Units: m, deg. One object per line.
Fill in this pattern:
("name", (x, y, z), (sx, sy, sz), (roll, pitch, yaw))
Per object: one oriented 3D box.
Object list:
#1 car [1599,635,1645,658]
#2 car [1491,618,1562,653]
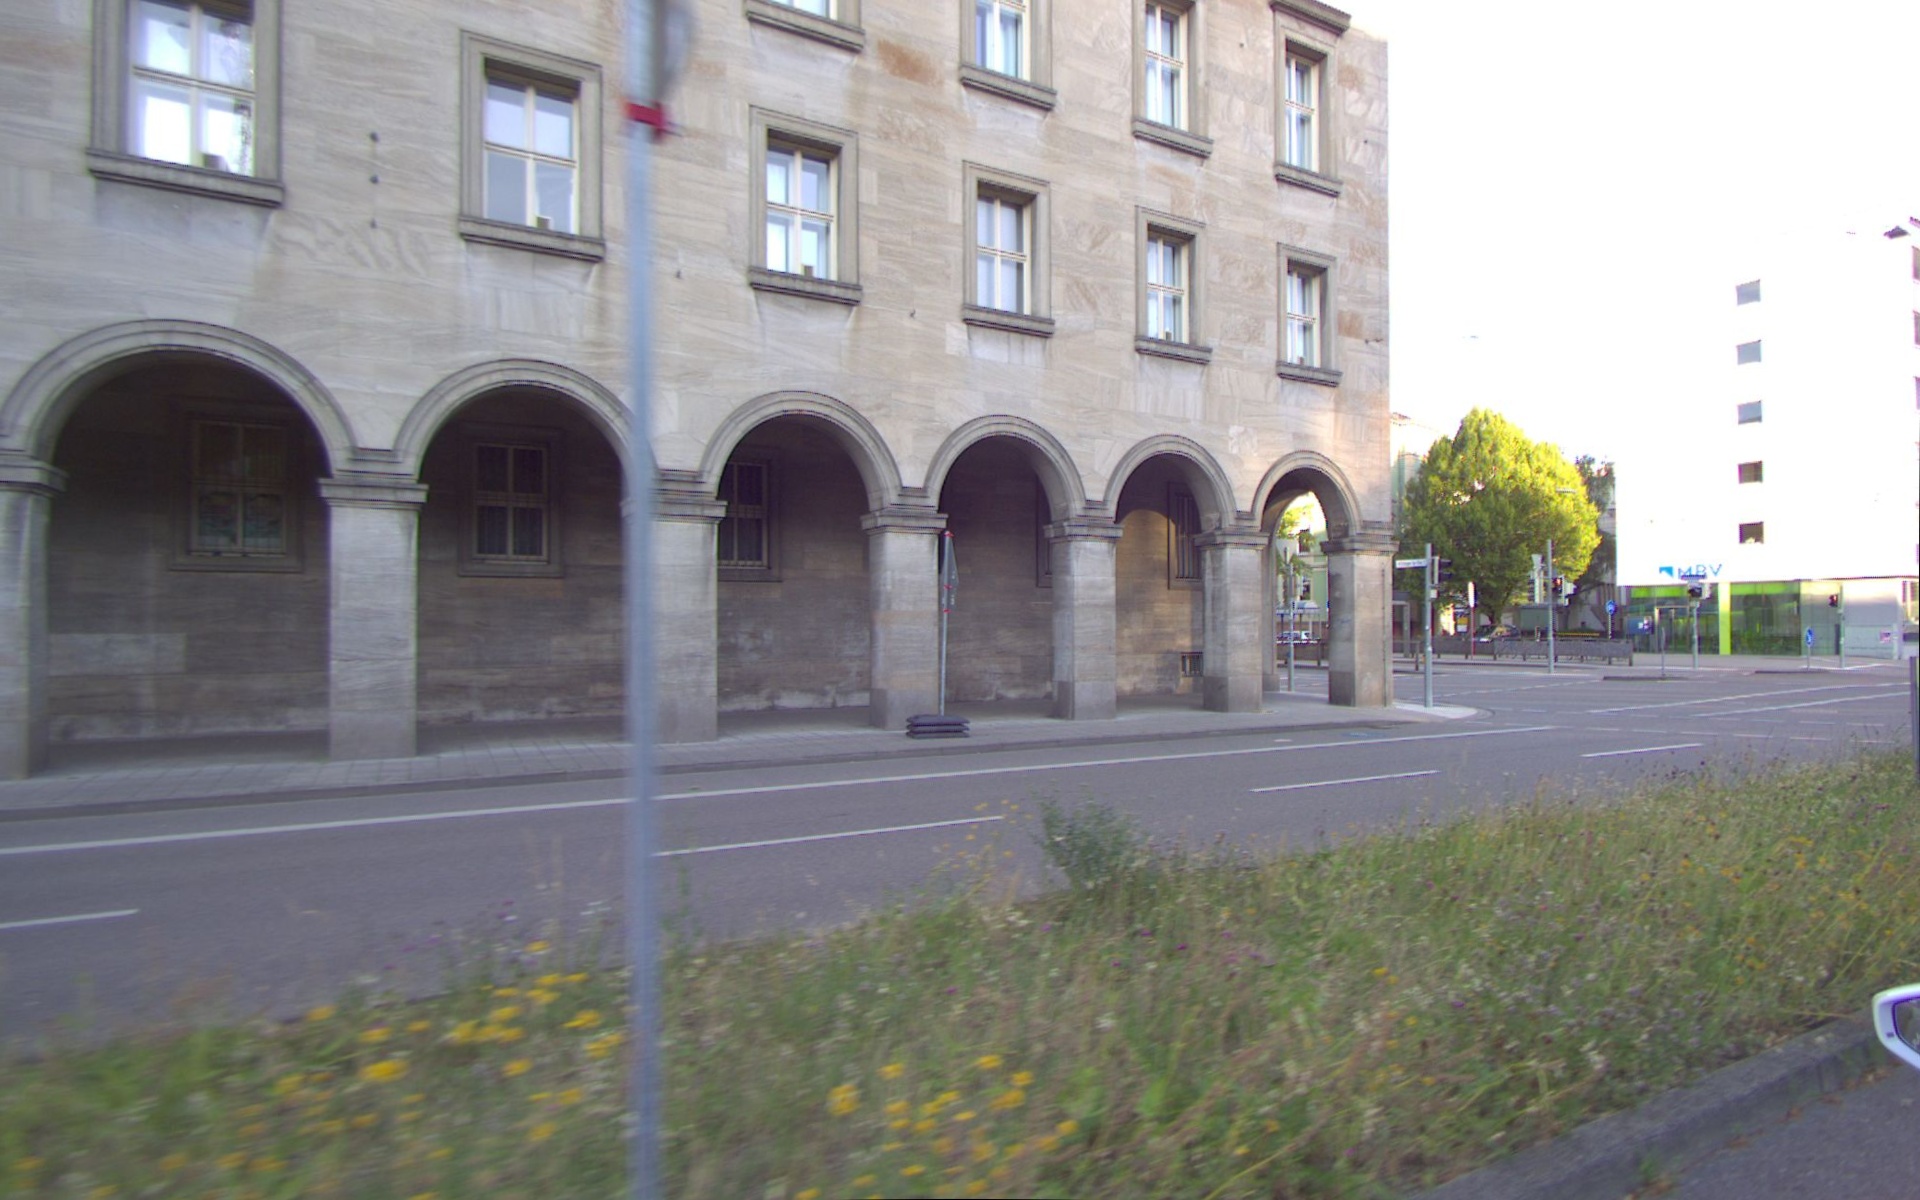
("car", (32.294, 2.269, 49.015), (2.492, 1.088, 0.849), (1, -2, -30))
("car", (34.427, 2.125, 61.016), (3.952, 2.040, 1.985), (1, -2, -30))
